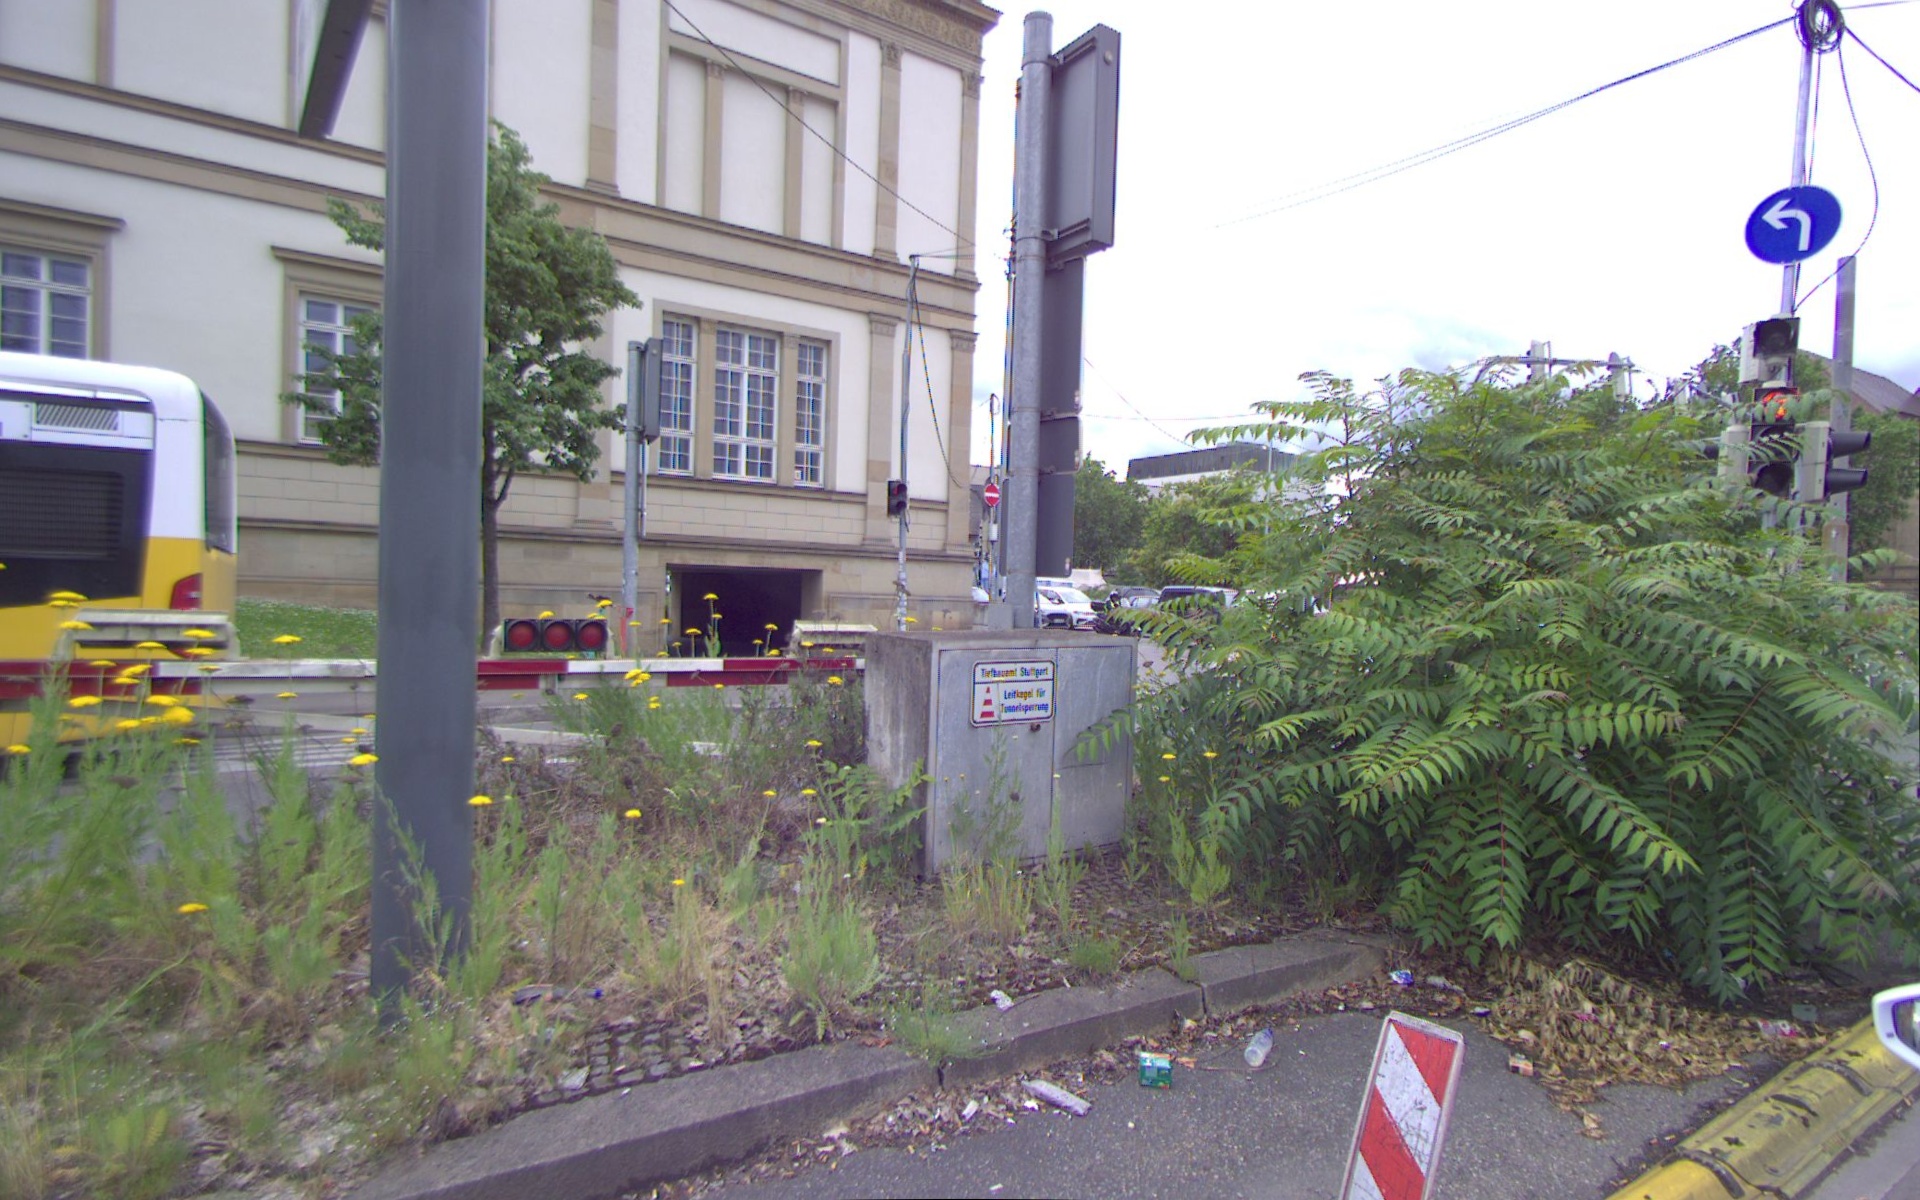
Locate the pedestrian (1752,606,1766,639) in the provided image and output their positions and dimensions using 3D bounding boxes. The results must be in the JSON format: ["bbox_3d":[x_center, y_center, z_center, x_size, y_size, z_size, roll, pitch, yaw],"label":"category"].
[{"bbox_3d":[49.757,1.380,62.563,0.516,2.040,0.428,2,1,17],"label":"pedestrian"}]

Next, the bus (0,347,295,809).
[{"bbox_3d":[-9.819,-0.228,6.507,9.019,3.156,2.830,1,1,-32],"label":"bus"}]

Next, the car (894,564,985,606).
[{"bbox_3d":[-0.944,-0.664,43.684,1.979,1.698,4.285,1,1,-34],"label":"car"}]

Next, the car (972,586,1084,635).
[{"bbox_3d":[2.480,0.356,37.753,1.979,1.698,4.285,1,1,-34],"label":"car"}]

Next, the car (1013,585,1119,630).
[{"bbox_3d":[4.245,0.282,40.932,1.979,1.698,4.285,1,1,-34],"label":"car"}]

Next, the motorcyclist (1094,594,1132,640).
[{"bbox_3d":[4.990,0.553,32.765,0.738,1.442,0.959,1,1,-35],"label":"motorcyclist"}]

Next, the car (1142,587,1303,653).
[{"bbox_3d":[7.544,0.525,29.278,1.979,1.698,4.285,1,1,-34],"label":"car"}]

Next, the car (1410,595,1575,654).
[{"bbox_3d":[17.128,0.742,32.449,1.986,1.698,4.271,1,1,-43],"label":"car"}]

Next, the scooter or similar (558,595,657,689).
[{"bbox_3d":[-4.942,0.583,14.133,1.132,1.190,0.540,6,0,-10],"label":"scooter or similar"}]

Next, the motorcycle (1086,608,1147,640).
[{"bbox_3d":[5.072,0.769,32.651,0.749,0.937,2.042,1,1,-35],"label":"motorcycle"}]
